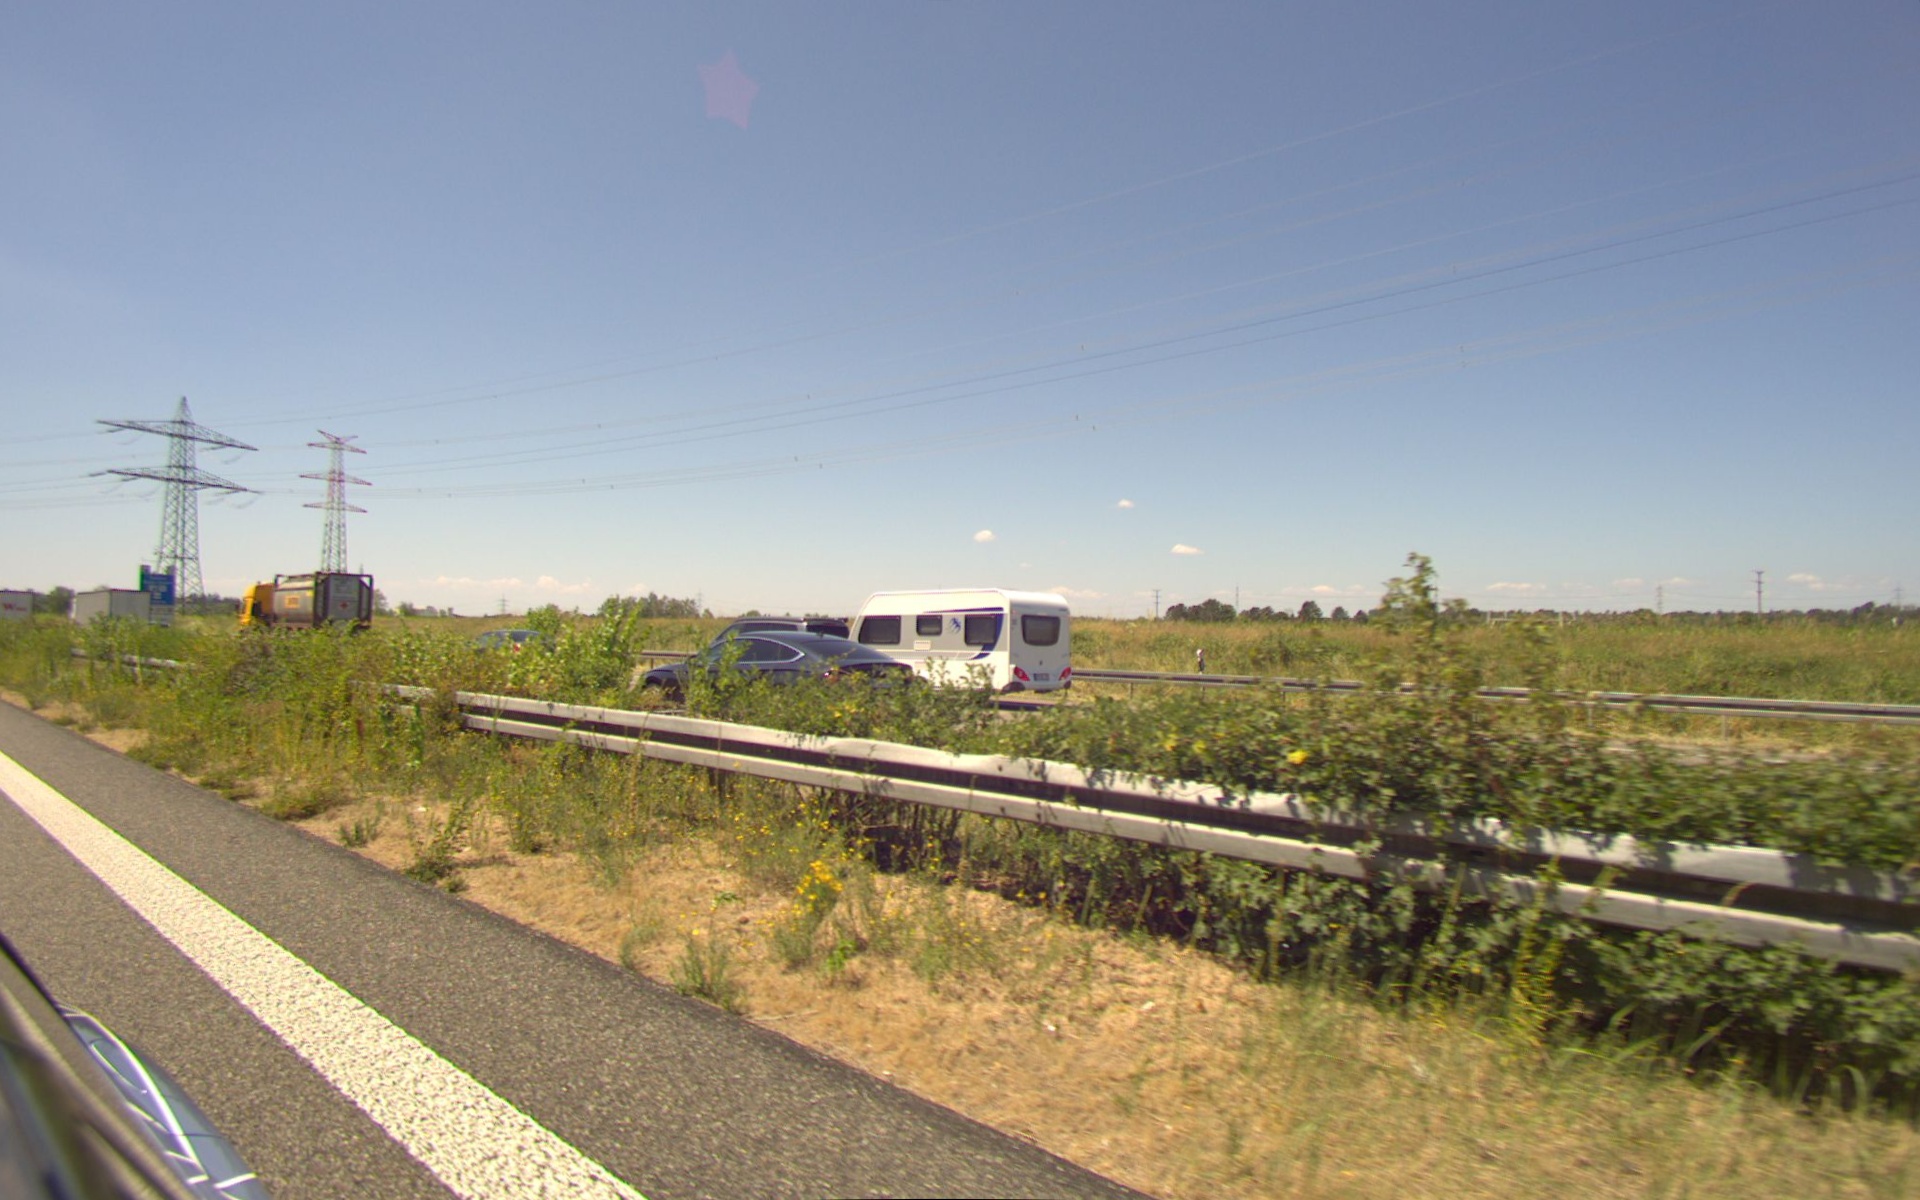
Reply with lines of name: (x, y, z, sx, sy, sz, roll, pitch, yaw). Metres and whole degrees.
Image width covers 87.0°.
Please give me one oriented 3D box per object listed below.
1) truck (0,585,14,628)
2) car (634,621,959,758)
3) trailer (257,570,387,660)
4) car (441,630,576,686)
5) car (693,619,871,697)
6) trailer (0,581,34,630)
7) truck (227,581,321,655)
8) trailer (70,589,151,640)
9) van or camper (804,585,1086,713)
truck: (-95.505, 0.634, 99.717, 5.566, 4.190, 2.777, -1, -1, 40)
car: (-2.288, 1.059, 13.437, 4.438, 1.524, 1.779, -1, -2, 40)
trailer: (-31.647, 0.797, 50.000, 9.418, 4.076, 2.708, -1, -2, 41)
car: (-12.557, 1.547, 27.984, 4.880, 1.387, 1.539, -1, -2, 42)
car: (-4.790, 1.464, 26.834, 4.866, 1.868, 2.026, -1, -2, 40)
trailer: (-90.047, 0.576, 95.043, 14.229, 4.382, 2.741, -1, 1, 40)
truck: (-36.830, 0.969, 54.305, 5.642, 3.756, 2.697, -1, -2, 41)
trailer: (-69.096, 1.217, 82.143, 14.230, 3.858, 2.741, -1, -1, 41)
van or camper: (-0.511, 1.054, 23.128, 6.479, 2.537, 2.418, -1, -2, 41)
